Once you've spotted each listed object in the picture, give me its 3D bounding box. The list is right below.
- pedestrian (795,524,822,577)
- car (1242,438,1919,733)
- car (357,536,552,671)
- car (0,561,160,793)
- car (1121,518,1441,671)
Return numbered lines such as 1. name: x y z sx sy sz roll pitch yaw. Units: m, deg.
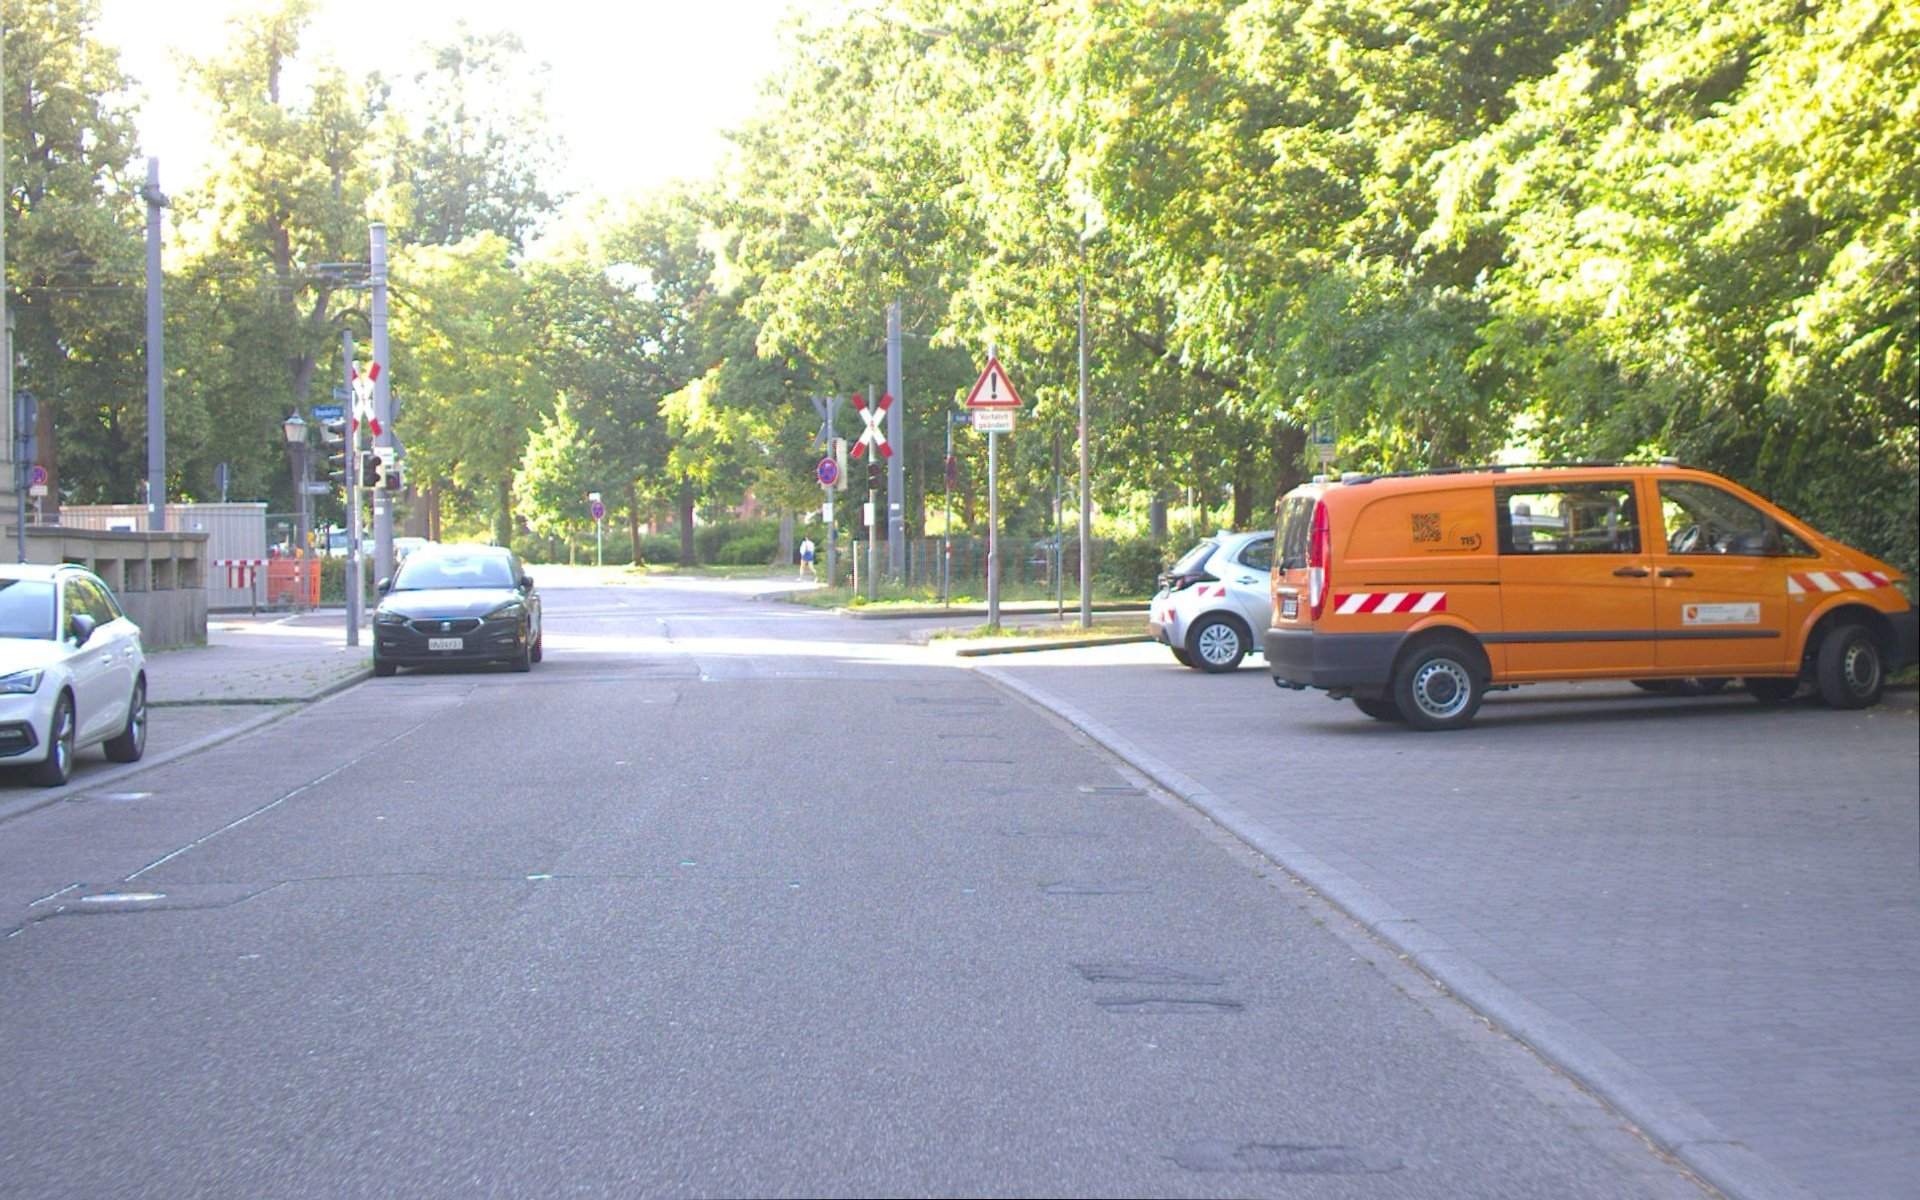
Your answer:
1. pedestrian: -4.974 -1.612 112.737 0.826 1.715 0.874 0 -1 2
2. car: 4.774 -0.134 26.713 4.817 2.007 1.802 -2 1 -6
3. car: -5.917 -0.003 40.672 1.878 1.461 4.374 0 1 -3
4. car: -6.715 0.456 23.407 1.727 1.392 4.374 0 1 -3
5. car: 3.454 -0.075 37.237 3.143 1.498 1.541 -2 1 -6
